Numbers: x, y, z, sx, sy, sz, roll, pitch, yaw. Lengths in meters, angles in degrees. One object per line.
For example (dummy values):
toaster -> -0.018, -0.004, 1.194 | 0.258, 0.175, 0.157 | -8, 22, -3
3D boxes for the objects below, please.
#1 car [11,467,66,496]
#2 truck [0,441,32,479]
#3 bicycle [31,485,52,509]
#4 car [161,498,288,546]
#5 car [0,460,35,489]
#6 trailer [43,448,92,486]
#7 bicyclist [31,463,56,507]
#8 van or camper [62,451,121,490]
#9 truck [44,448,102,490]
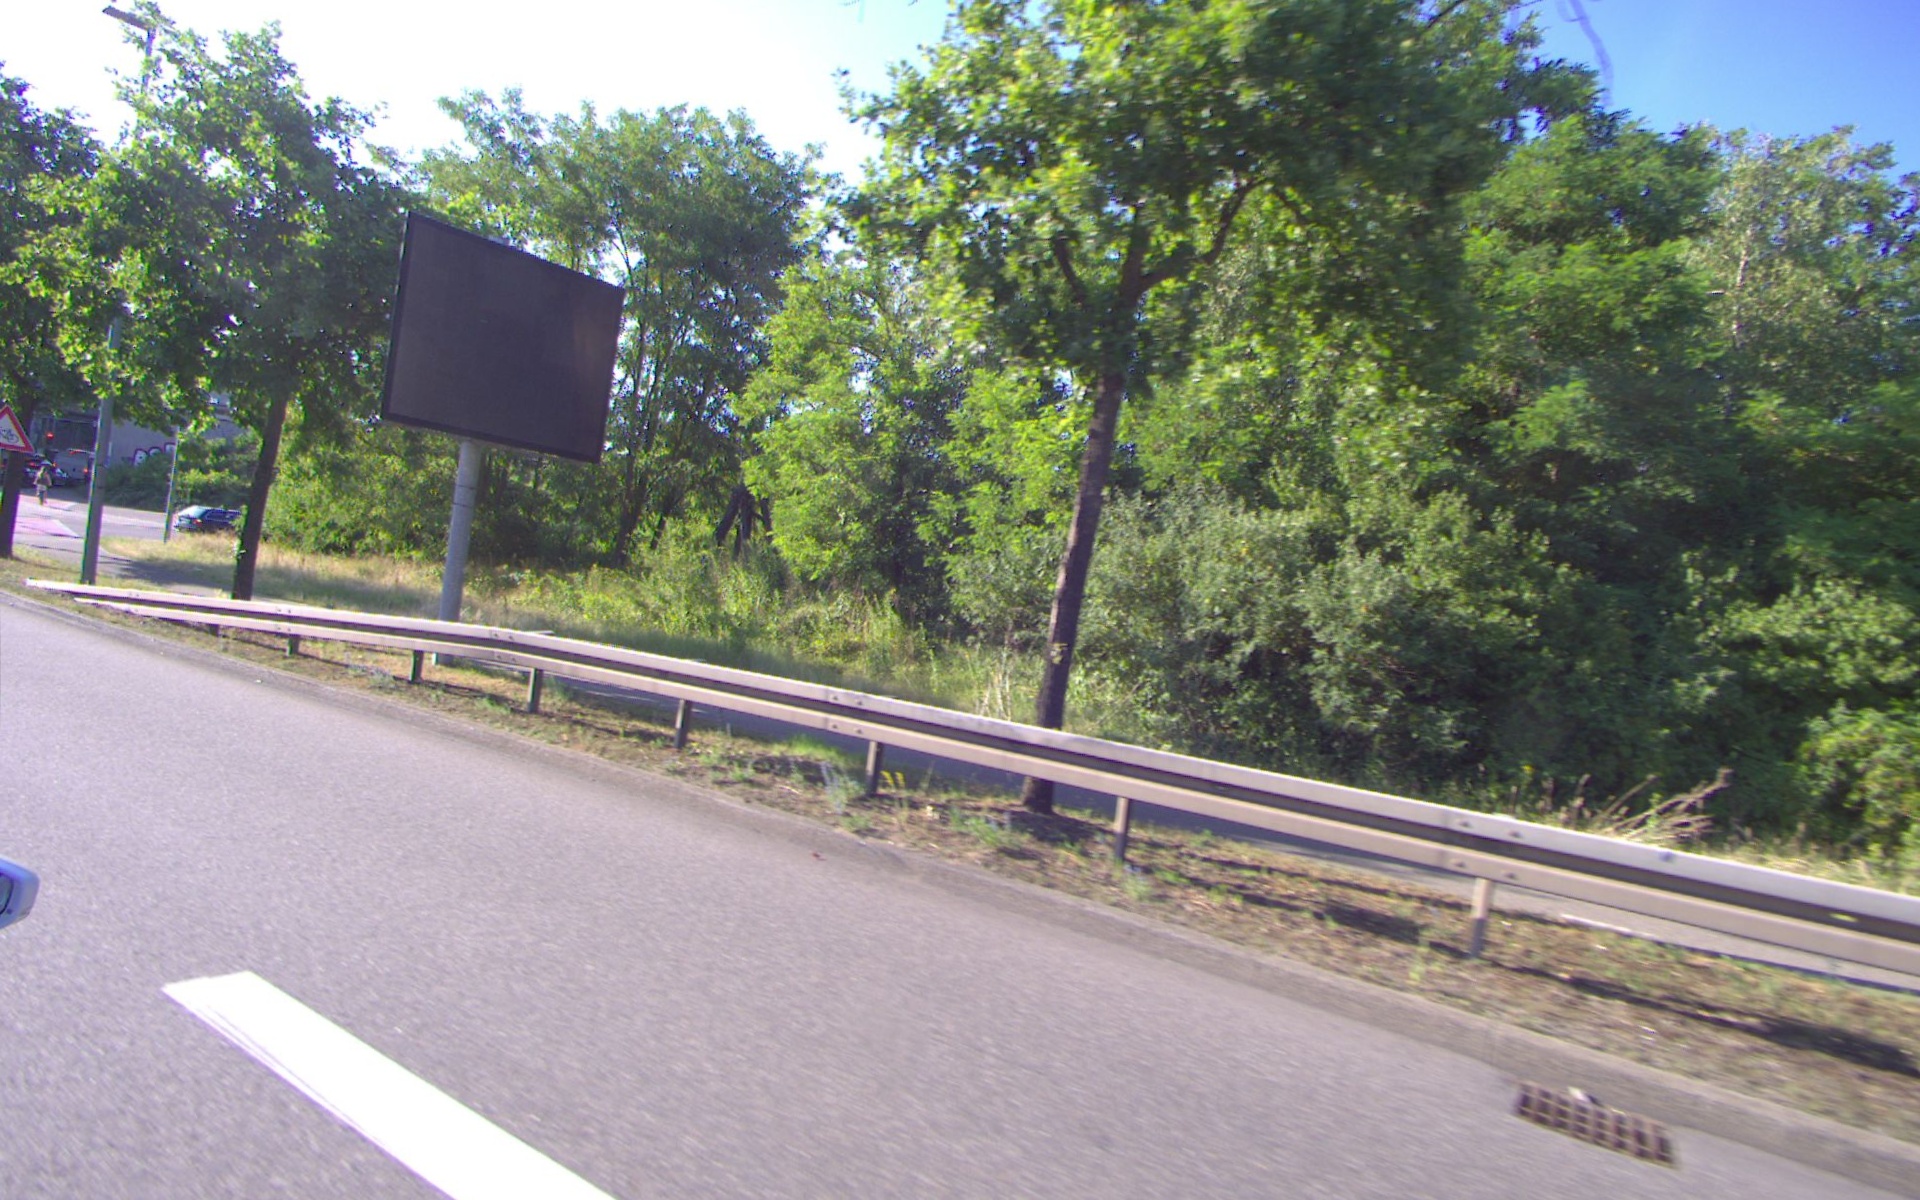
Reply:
car -> -62.928, -8.055, 68.738 | 1.758, 1.514, 3.803 | 7, 0, -28
truck -> -75.166, -11.117, 78.778 | 2.012, 2.587, 5.498 | 9, 0, -27
bicycle -> -43.625, -4.894, 47.786 | 0.577, 0.975, 2.849 | 8, 0, -44
car -> -31.752, -3.340, 43.577 | 1.962, 1.528, 3.998 | 7, 1, 17
car -> -59.554, -7.839, 62.684 | 1.729, 1.472, 4.566 | 9, 1, -30
trailer -> -73.127, -10.866, 82.515 | 1.848, 2.495, 3.806 | 7, 1, -26
bicyclist -> -43.470, -5.447, 47.702 | 0.680, 1.930, 0.822 | 8, 1, -44
van or camper -> -75.630, -11.221, 87.708 | 1.975, 2.601, 5.883 | 9, 0, -24
truck -> -66.723, -9.822, 75.766 | 2.095, 2.549, 4.368 | 8, -1, -29
